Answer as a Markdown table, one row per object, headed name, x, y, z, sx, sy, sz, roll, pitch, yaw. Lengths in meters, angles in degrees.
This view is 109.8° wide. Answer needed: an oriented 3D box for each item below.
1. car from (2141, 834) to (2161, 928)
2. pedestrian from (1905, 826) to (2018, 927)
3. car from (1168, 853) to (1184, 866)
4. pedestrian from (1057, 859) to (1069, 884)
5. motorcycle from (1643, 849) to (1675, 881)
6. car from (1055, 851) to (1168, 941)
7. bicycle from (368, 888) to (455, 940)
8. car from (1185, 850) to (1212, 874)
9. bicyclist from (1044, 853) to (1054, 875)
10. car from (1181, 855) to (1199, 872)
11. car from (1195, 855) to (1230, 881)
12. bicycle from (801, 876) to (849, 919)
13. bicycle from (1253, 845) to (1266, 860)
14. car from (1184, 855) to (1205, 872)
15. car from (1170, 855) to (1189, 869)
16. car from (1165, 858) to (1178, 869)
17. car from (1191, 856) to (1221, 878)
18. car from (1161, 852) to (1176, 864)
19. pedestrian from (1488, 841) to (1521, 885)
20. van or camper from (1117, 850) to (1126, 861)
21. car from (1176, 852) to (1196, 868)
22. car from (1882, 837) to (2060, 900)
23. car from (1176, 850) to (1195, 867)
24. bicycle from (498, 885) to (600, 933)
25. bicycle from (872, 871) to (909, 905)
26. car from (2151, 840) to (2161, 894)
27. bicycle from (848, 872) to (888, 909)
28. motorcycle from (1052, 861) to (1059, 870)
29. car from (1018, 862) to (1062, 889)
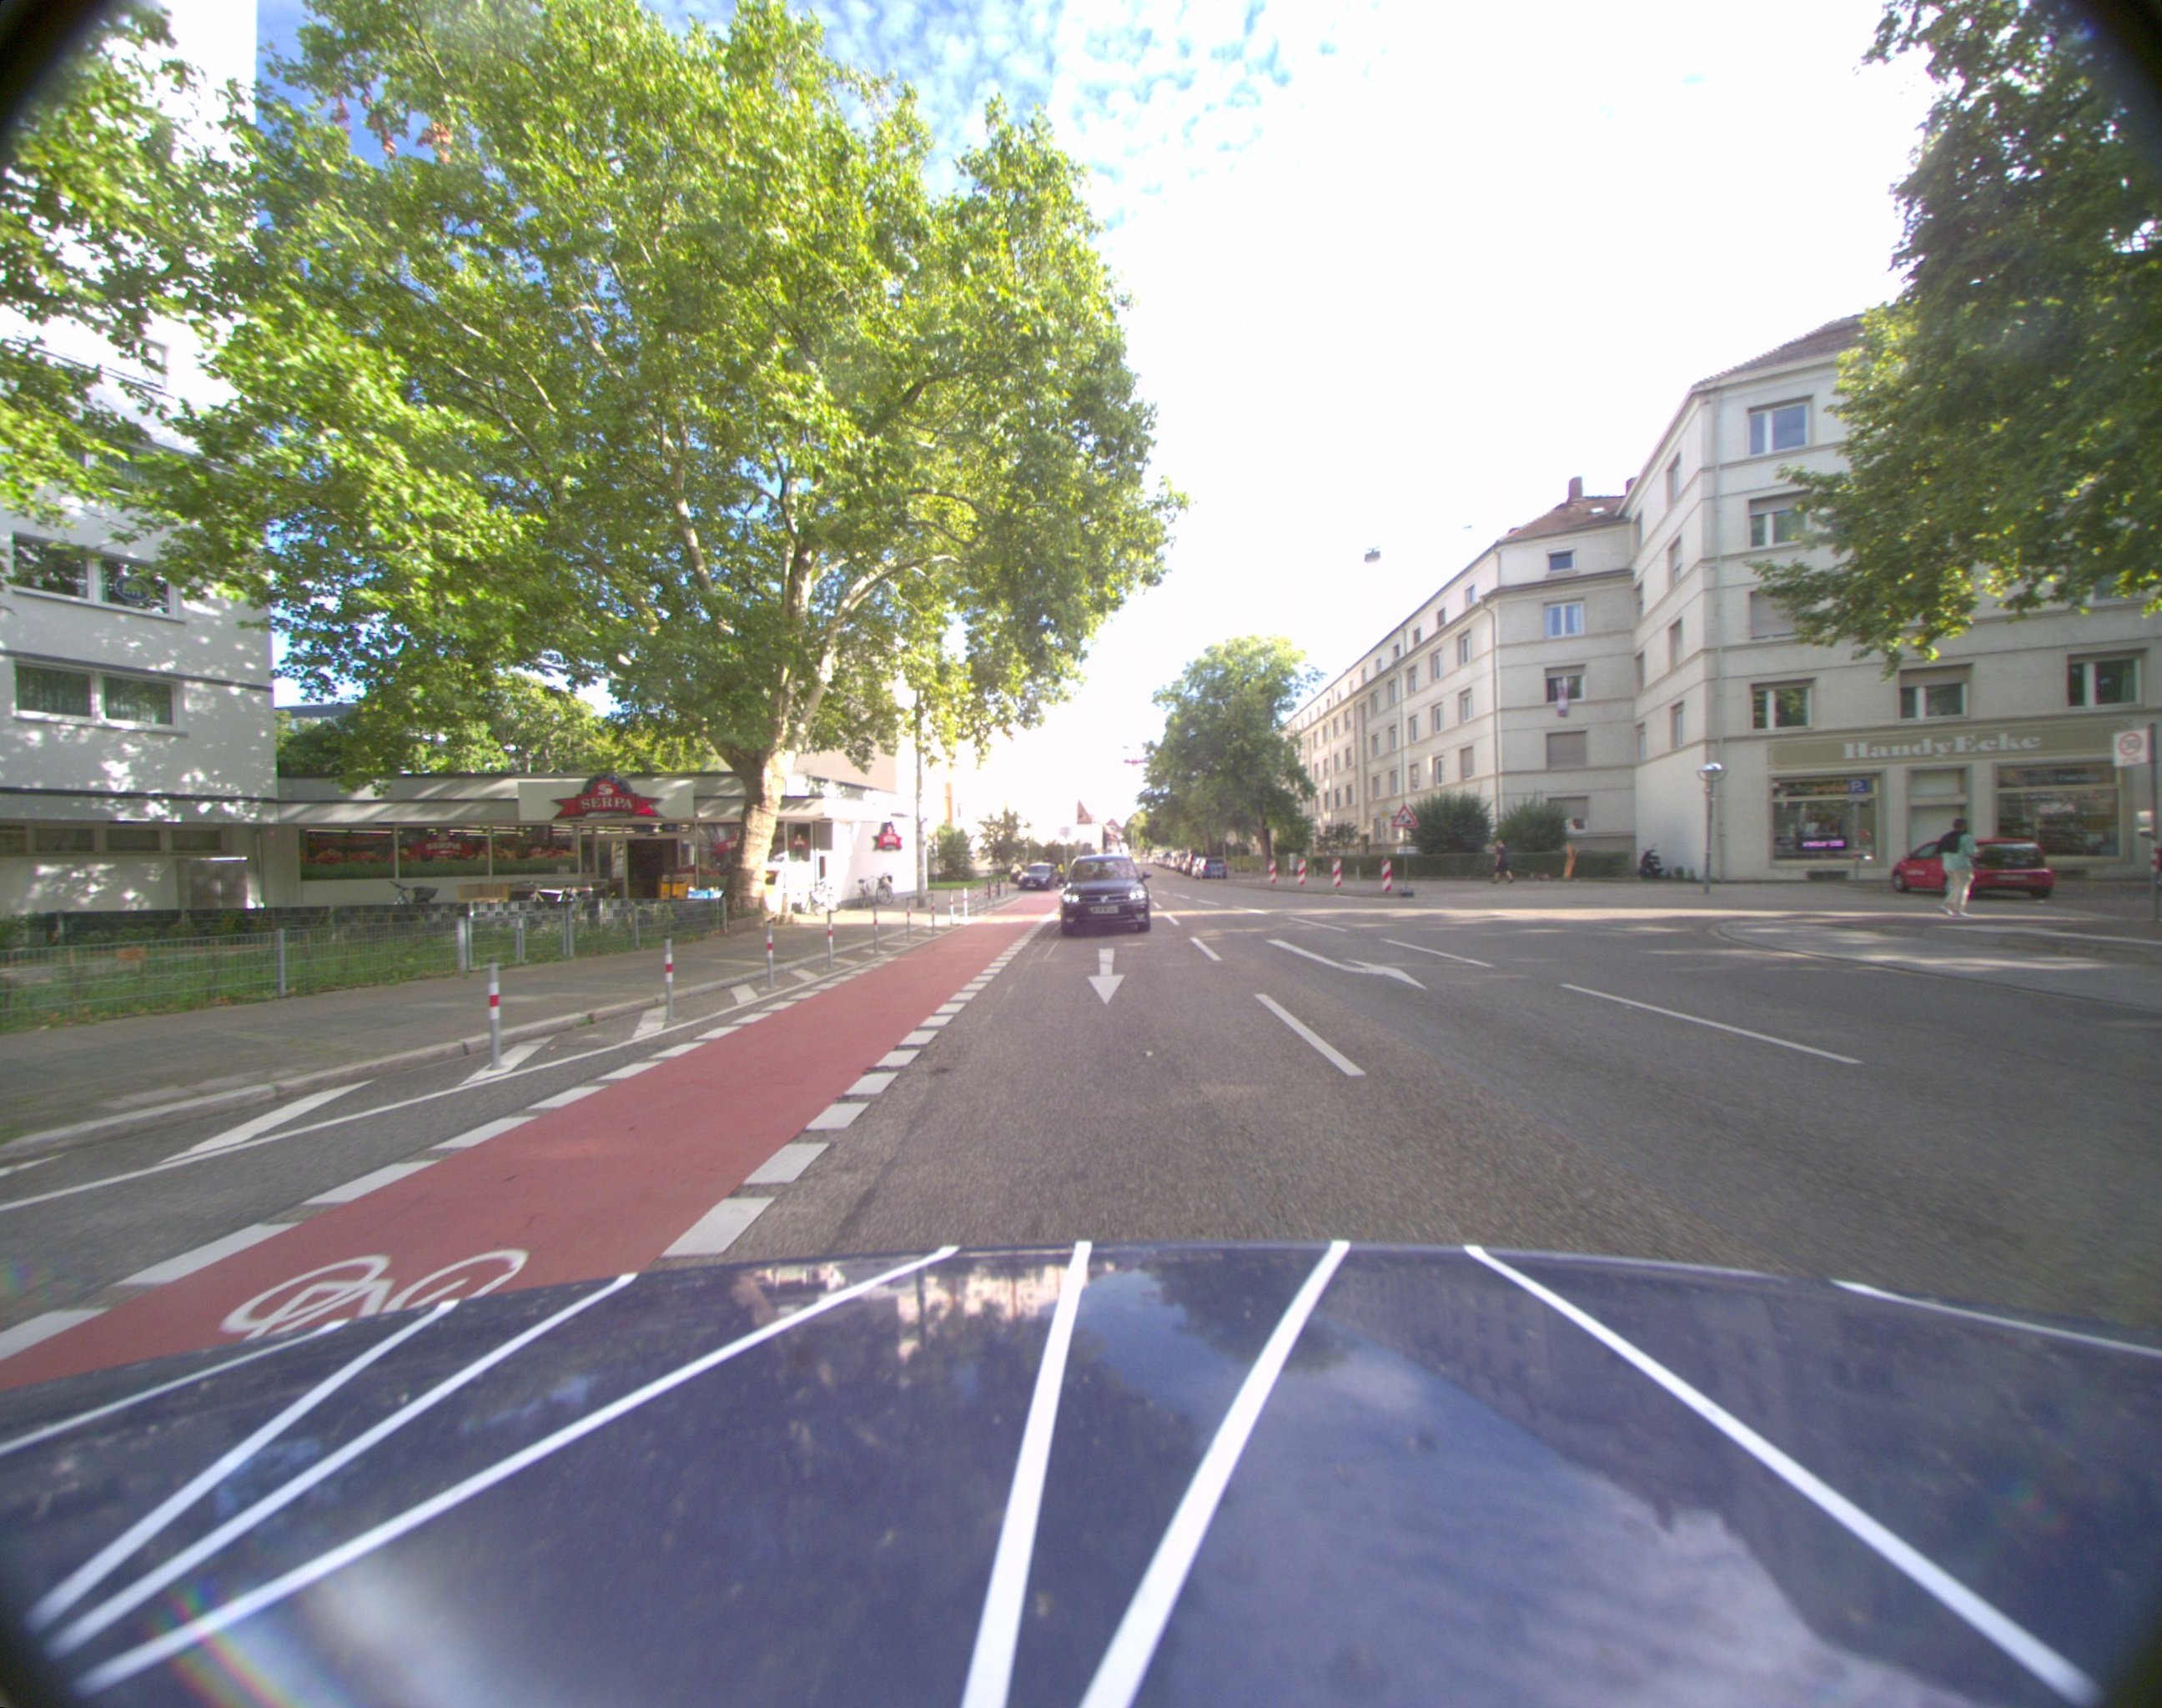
| name | x | y | z | sx | sy | sz | roll | pitch | yaw |
| --- | --- | --- | --- | --- | --- | --- | --- | --- | --- |
| car | 18.627 | 0.430 | 10.336 | 2.236 | 1.576 | 4.980 | -1 | 0 | 15 |
| pedestrian | 16.143 | 0.392 | 13.952 | 1.078 | 1.743 | 0.918 | -3 | 0 | -12 |
| car | 11.566 | 0.645 | 92.887 | 1.618 | 1.459 | 4.015 | -1 | 0 | 4 |
| pedestrian | -1.080 | 1.091 | 46.735 | 0.654 | 1.529 | 0.743 | 0 | 1 | 4 |
| motorcycle | 22.153 | 0.414 | 29.131 | 0.545 | 1.156 | 1.879 | -1 | 0 | 24 |
| car | 0.804 | 0.826 | 16.803 | 1.858 | 1.673 | 4.003 | -3 | 0 | 11 |
| bicycle | -15.650 | 1.372 | 17.827 | 0.693 | 1.065 | 1.854 | -1 | 0 | -12 |
| car | 9.310 | 0.635 | 60.484 | 1.726 | 1.871 | 4.193 | 0 | 0 | 4 |
| bicyclist | -2.496 | 0.796 | 59.569 | 0.625 | 1.668 | 0.893 | -2 | 1 | 3 |
| car | 10.020 | 0.857 | 70.008 | 1.556 | 1.511 | 3.017 | 1 | 0 | 5 |
| car | 8.679 | 0.907 | 50.315 | 1.803 | 1.610 | 3.803 | 1 | 0 | 2 |
| bicycle | -7.949 | 1.323 | 23.631 | 0.713 | 1.199 | 1.816 | 2 | 1 | 6 |
| bicycle | 24.417 | -0.238 | 104.027 | 1.267 | 2.002 | 2.919 | -3 | 0 | 3 |
| car | 9.746 | 0.801 | 65.503 | 1.697 | 1.484 | 4.335 | 0 | 0 | 7 |
| car | 11.425 | 0.922 | 88.337 | 1.743 | 1.610 | 3.995 | -2 | 0 | 3 |
| car | 12.321 | 1.277 | 103.747 | 1.688 | 1.472 | 4.454 | 2 | 0 | 7 |
| car | 9.012 | 0.931 | 55.026 | 1.803 | 1.485 | 3.804 | 1 | 0 | 5 |
| car | 13.097 | 0.634 | 114.008 | 1.881 | 1.782 | 4.971 | 0 | 0 | 3 |
| pedestrian | 15.464 | 0.311 | 27.759 | 0.734 | 1.569 | 0.732 | -2 | 0 | 0 |
| van or camper | 9.539 | 0.257 | 178.826 | 2.164 | 2.512 | 5.915 | 1 | 0 | 4 |
| car | 10.178 | 0.602 | 73.750 | 1.704 | 1.478 | 3.849 | 1 | 0 | 5 |
| car | 22.901 | 0.346 | 19.754 | 1.592 | 1.469 | 3.712 | -2 | 0 | 25 |
| car | 10.898 | 0.480 | 79.344 | 1.803 | 1.658 | 4.484 | 1 | 0 | 5 |
| bicycle | -12.912 | 1.310 | 18.494 | 0.747 | 1.032 | 1.860 | -7 | -4 | 26 |
| bicycle | -7.299 | 1.285 | 29.181 | 0.770 | 1.199 | 1.816 | 2 | 1 | 7 |
| car | 27.440 | 0.334 | 17.478 | 1.592 | 1.358 | 3.712 | -2 | 0 | 24 |
| bicycle | -7.599 | 1.288 | 27.169 | 0.712 | 1.199 | 1.771 | 2 | 1 | 7 |
| motorcycle | -2.980 | 1.329 | 89.420 | 0.632 | 1.038 | 2.394 | 0 | 0 | 3 |
| car | -2.305 | 1.201 | 43.497 | 1.764 | 1.403 | 4.235 | 0 | 0 | 8 |
